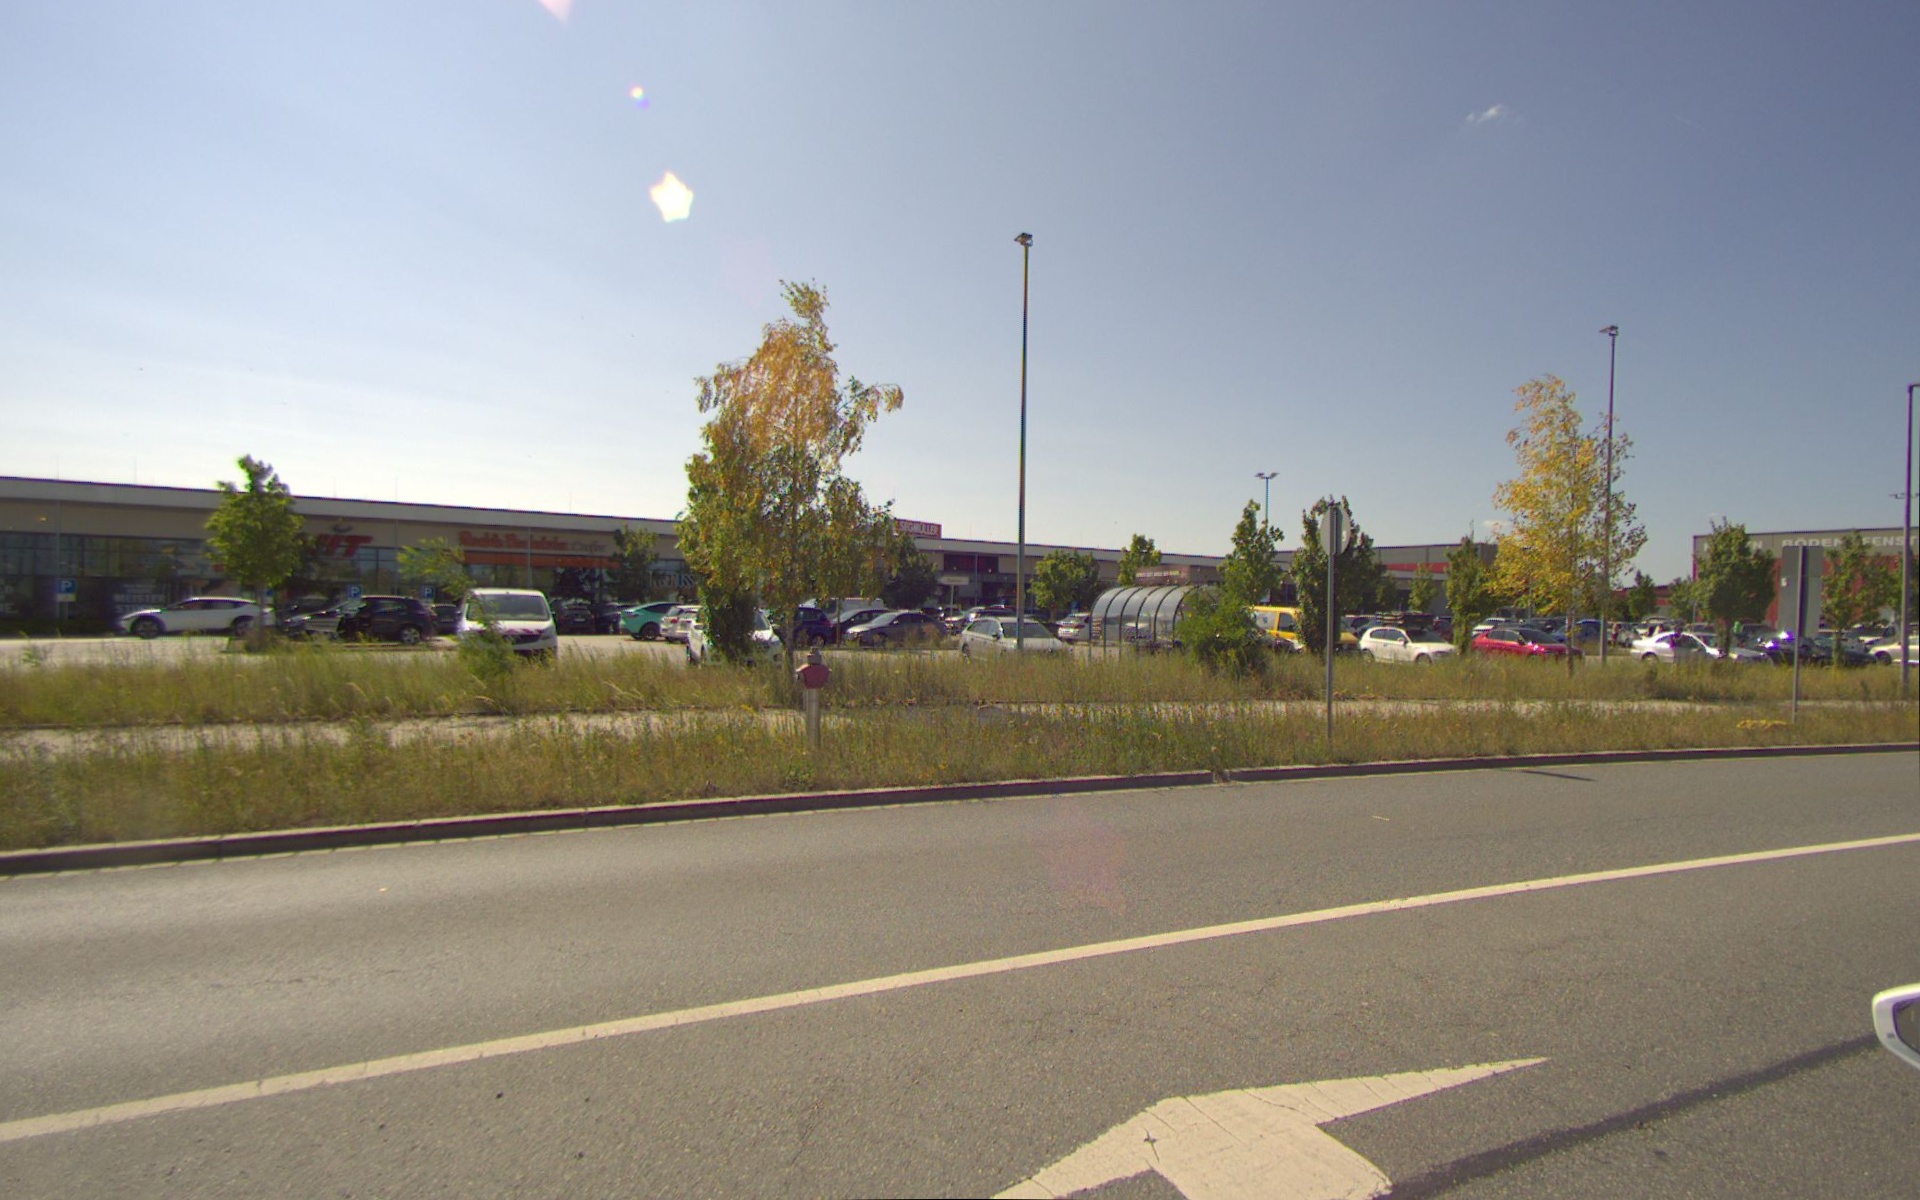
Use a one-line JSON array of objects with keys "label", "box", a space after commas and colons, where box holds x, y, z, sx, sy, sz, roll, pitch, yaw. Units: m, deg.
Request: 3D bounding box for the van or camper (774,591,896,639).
[{"label": "van or camper", "box": [-5.494, 0.684, 44.450, 4.998, 2.040, 1.982, 1, -1, -33]}]

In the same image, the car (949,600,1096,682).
[{"label": "car", "box": [1.592, 1.041, 27.765, 2.132, 2.040, 5.091, 1, -1, -21]}]

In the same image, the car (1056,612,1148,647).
[{"label": "car", "box": [6.664, 1.387, 47.009, 4.304, 1.540, 1.640, 2, -1, -34]}]

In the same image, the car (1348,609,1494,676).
[{"label": "car", "box": [15.145, 1.338, 33.295, 1.913, 2.040, 4.392, 2, -1, -18]}]

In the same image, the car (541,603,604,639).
[{"label": "car", "box": [-19.388, 1.021, 50.173, 1.981, 1.730, 3.959, 1, 0, -36]}]

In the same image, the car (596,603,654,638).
[{"label": "car", "box": [-17.357, 1.030, 51.929, 1.978, 1.730, 3.966, 1, 0, -32]}]

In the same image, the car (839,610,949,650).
[{"label": "car", "box": [-2.595, 1.209, 39.922, 3.959, 1.528, 1.857, 2, -1, -34]}]

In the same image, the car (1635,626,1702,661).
[{"label": "car", "box": [43.192, 2.652, 61.231, 4.440, 2.064, 1.980, 2, -1, -35]}]

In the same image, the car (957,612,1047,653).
[{"label": "car", "box": [2.252, 1.734, 53.730, 4.434, 2.130, 1.983, 2, -1, -31]}]

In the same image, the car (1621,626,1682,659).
[{"label": "car", "box": [45.912, 2.825, 66.677, 4.440, 2.064, 1.980, 2, -1, -35]}]

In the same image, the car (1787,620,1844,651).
[{"label": "car", "box": [58.812, 2.437, 69.012, 4.440, 2.064, 1.980, 2, -1, -35]}]

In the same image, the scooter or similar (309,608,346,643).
[{"label": "scooter or similar", "box": [-19.834, 0.798, 31.497, 0.935, 1.094, 0.647, 1, 0, -31]}]

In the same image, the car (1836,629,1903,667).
[{"label": "car", "box": [52.515, 2.738, 57.996, 4.440, 2.064, 1.980, 2, -1, -35]}]

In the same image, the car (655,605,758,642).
[{"label": "car", "box": [-10.212, 0.954, 40.569, 3.699, 1.409, 1.713, 1, -1, -39]}]

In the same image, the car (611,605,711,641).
[{"label": "car", "box": [-12.599, 0.966, 42.405, 3.699, 1.409, 1.713, 1, -1, -39]}]

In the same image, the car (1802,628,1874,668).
[{"label": "car", "box": [47.625, 2.572, 54.490, 4.440, 2.064, 1.980, 2, -1, -35]}]

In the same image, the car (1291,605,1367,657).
[{"label": "car", "box": [21.178, 1.788, 57.588, 4.440, 2.859, 1.980, 2, -1, -35]}]

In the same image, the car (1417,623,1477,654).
[{"label": "car", "box": [34.723, 2.744, 71.549, 4.440, 2.064, 1.980, 2, -1, -35]}]

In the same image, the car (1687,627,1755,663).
[{"label": "car", "box": [44.982, 2.638, 59.317, 4.440, 2.064, 1.980, 2, -1, -35]}]

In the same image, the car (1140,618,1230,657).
[{"label": "car", "box": [11.374, 1.894, 50.673, 4.440, 1.888, 1.980, 2, -1, -35]}]

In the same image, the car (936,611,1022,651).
[{"label": "car", "box": [1.076, 1.760, 56.192, 4.434, 2.151, 1.983, 2, -1, -31]}]

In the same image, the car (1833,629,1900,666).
[{"label": "car", "box": [52.430, 2.739, 58.094, 4.440, 2.064, 1.980, 2, -1, -35]}]

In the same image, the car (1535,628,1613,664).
[{"label": "car", "box": [32.240, 2.392, 52.687, 4.273, 1.808, 1.980, 2, -1, -35]}]

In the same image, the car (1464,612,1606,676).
[{"label": "car", "box": [19.752, 1.457, 34.738, 1.852, 2.040, 4.124, 2, -1, -16]}]

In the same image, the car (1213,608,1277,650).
[{"label": "car", "box": [20.023, 2.070, 70.612, 4.440, 2.859, 1.980, 2, -1, -35]}]

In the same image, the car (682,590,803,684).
[{"label": "car", "box": [-5.447, 0.844, 24.562, 2.132, 2.040, 5.091, 1, -1, -21]}]

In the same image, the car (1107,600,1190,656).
[{"label": "car", "box": [9.981, 1.489, 53.111, 4.450, 2.859, 1.976, 2, -2, -41]}]

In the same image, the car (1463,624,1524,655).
[{"label": "car", "box": [36.853, 2.730, 69.333, 4.440, 2.064, 1.980, 2, -1, -35]}]

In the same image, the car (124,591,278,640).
[{"label": "car", "box": [-28.601, 0.617, 38.045, 4.436, 1.728, 1.858, 2, -1, -32]}]

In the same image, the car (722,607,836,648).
[{"label": "car", "box": [-6.510, 0.979, 36.318, 3.699, 1.409, 1.713, 1, -1, -39]}]

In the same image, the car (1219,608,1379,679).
[{"label": "car", "box": [10.480, 1.282, 31.503, 2.130, 2.040, 5.095, 1, -1, -18]}]

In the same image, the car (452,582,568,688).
[{"label": "car", "box": [-10.043, 0.706, 22.197, 2.061, 2.040, 5.192, 1, -1, -27]}]

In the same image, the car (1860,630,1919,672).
[{"label": "car", "box": [41.535, 2.192, 42.842, 1.963, 1.738, 4.479, 1, -1, -8]}]

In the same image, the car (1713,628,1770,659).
[{"label": "car", "box": [54.226, 3.040, 69.689, 4.440, 2.064, 1.980, 2, -1, -35]}]

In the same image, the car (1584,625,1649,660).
[{"label": "car", "box": [41.458, 2.672, 63.388, 4.440, 2.064, 1.980, 2, -1, -35]}]

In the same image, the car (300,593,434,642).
[{"label": "car", "box": [-19.783, 0.585, 33.551, 3.768, 1.529, 1.715, 1, -1, -35]}]

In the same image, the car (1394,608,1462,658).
[{"label": "car", "box": [27.437, 1.926, 58.861, 4.450, 2.859, 1.976, 2, -2, -41]}]

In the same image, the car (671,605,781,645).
[{"label": "car", "box": [-8.804, 0.936, 37.892, 3.699, 1.409, 1.713, 1, -1, -39]}]

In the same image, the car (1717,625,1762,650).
[{"label": "car", "box": [68.349, 3.304, 88.073, 4.440, 2.064, 1.980, 2, -1, -35]}]
